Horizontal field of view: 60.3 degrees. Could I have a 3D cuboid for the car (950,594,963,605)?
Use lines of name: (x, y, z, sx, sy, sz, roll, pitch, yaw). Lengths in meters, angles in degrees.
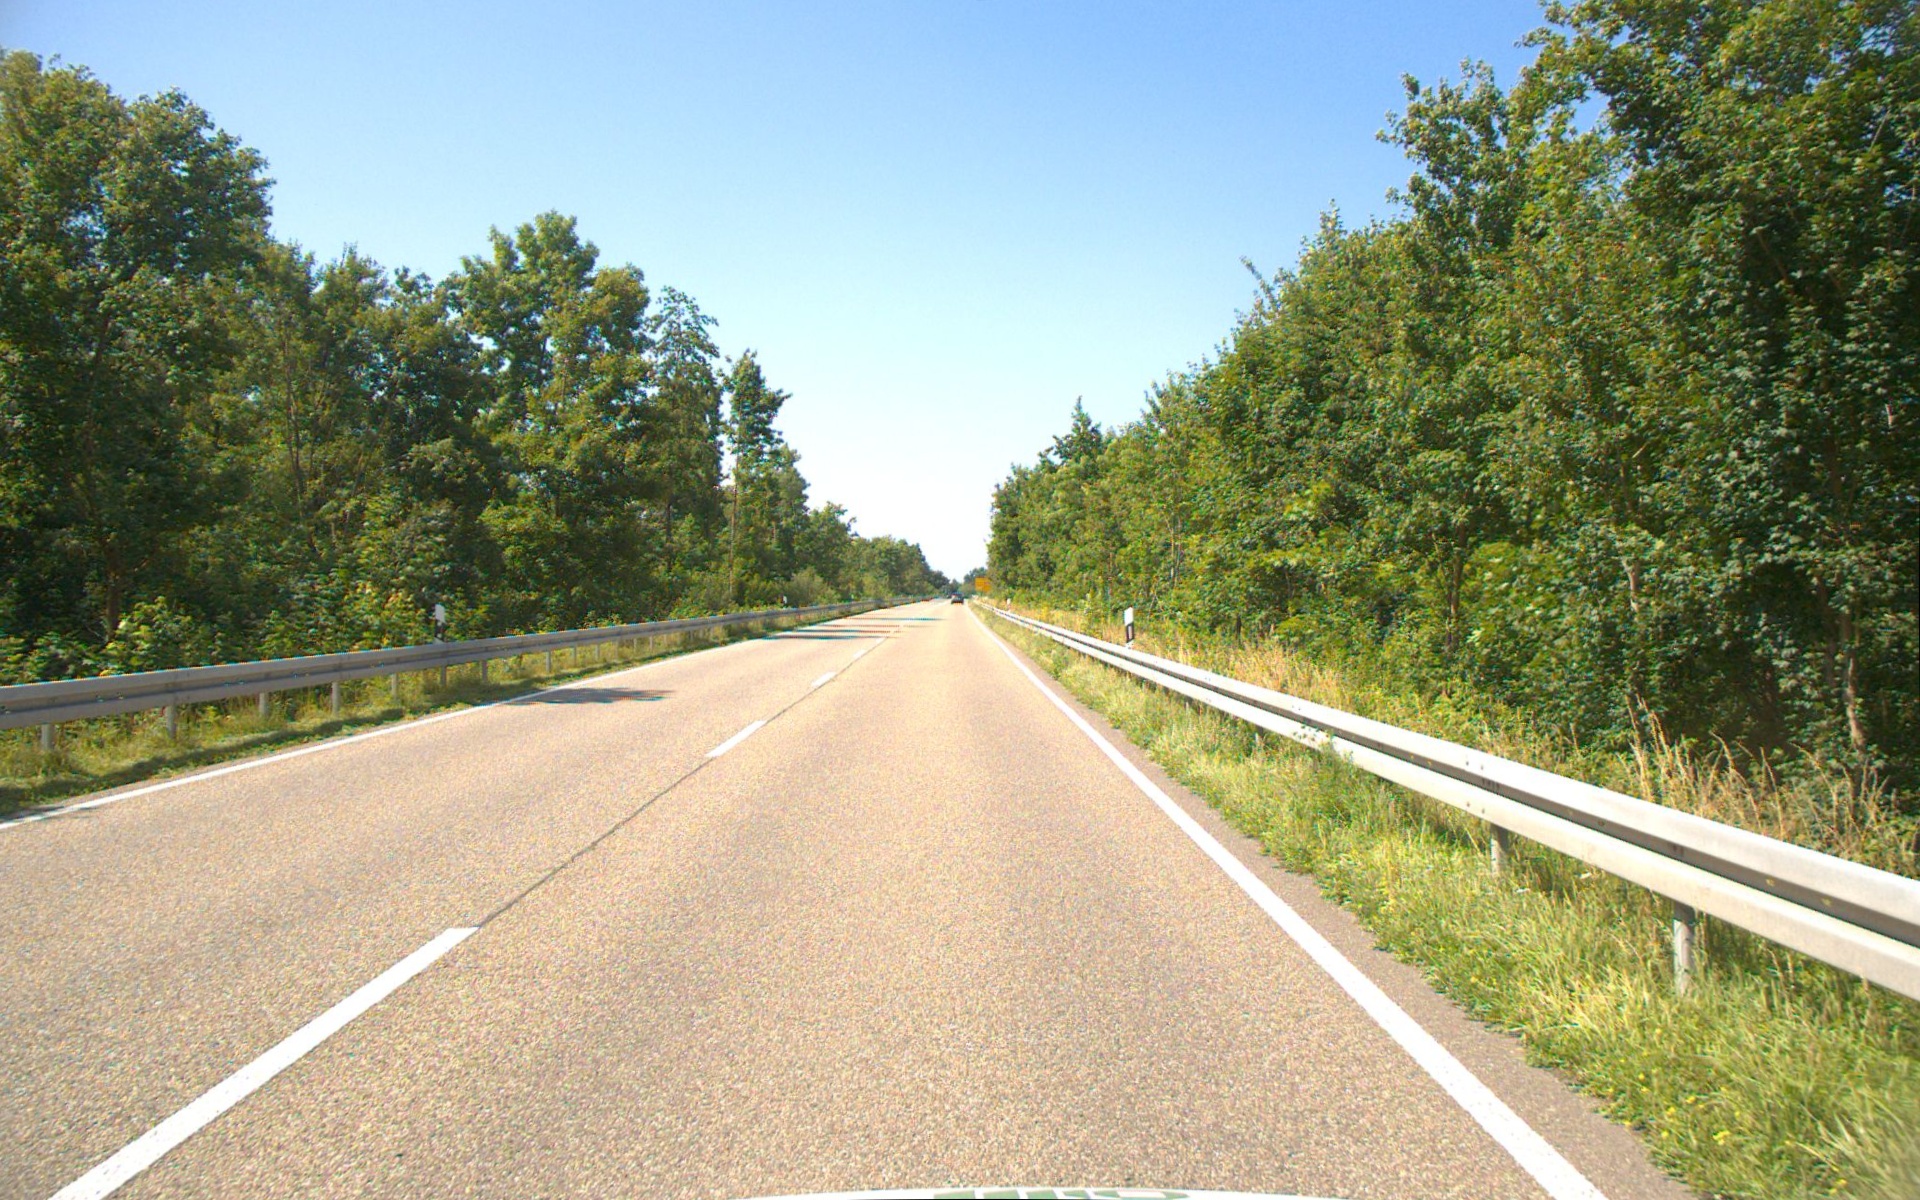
car: (-0.480, -0.043, 231.895, 1.705, 1.496, 3.693, 1, 0, 1)
